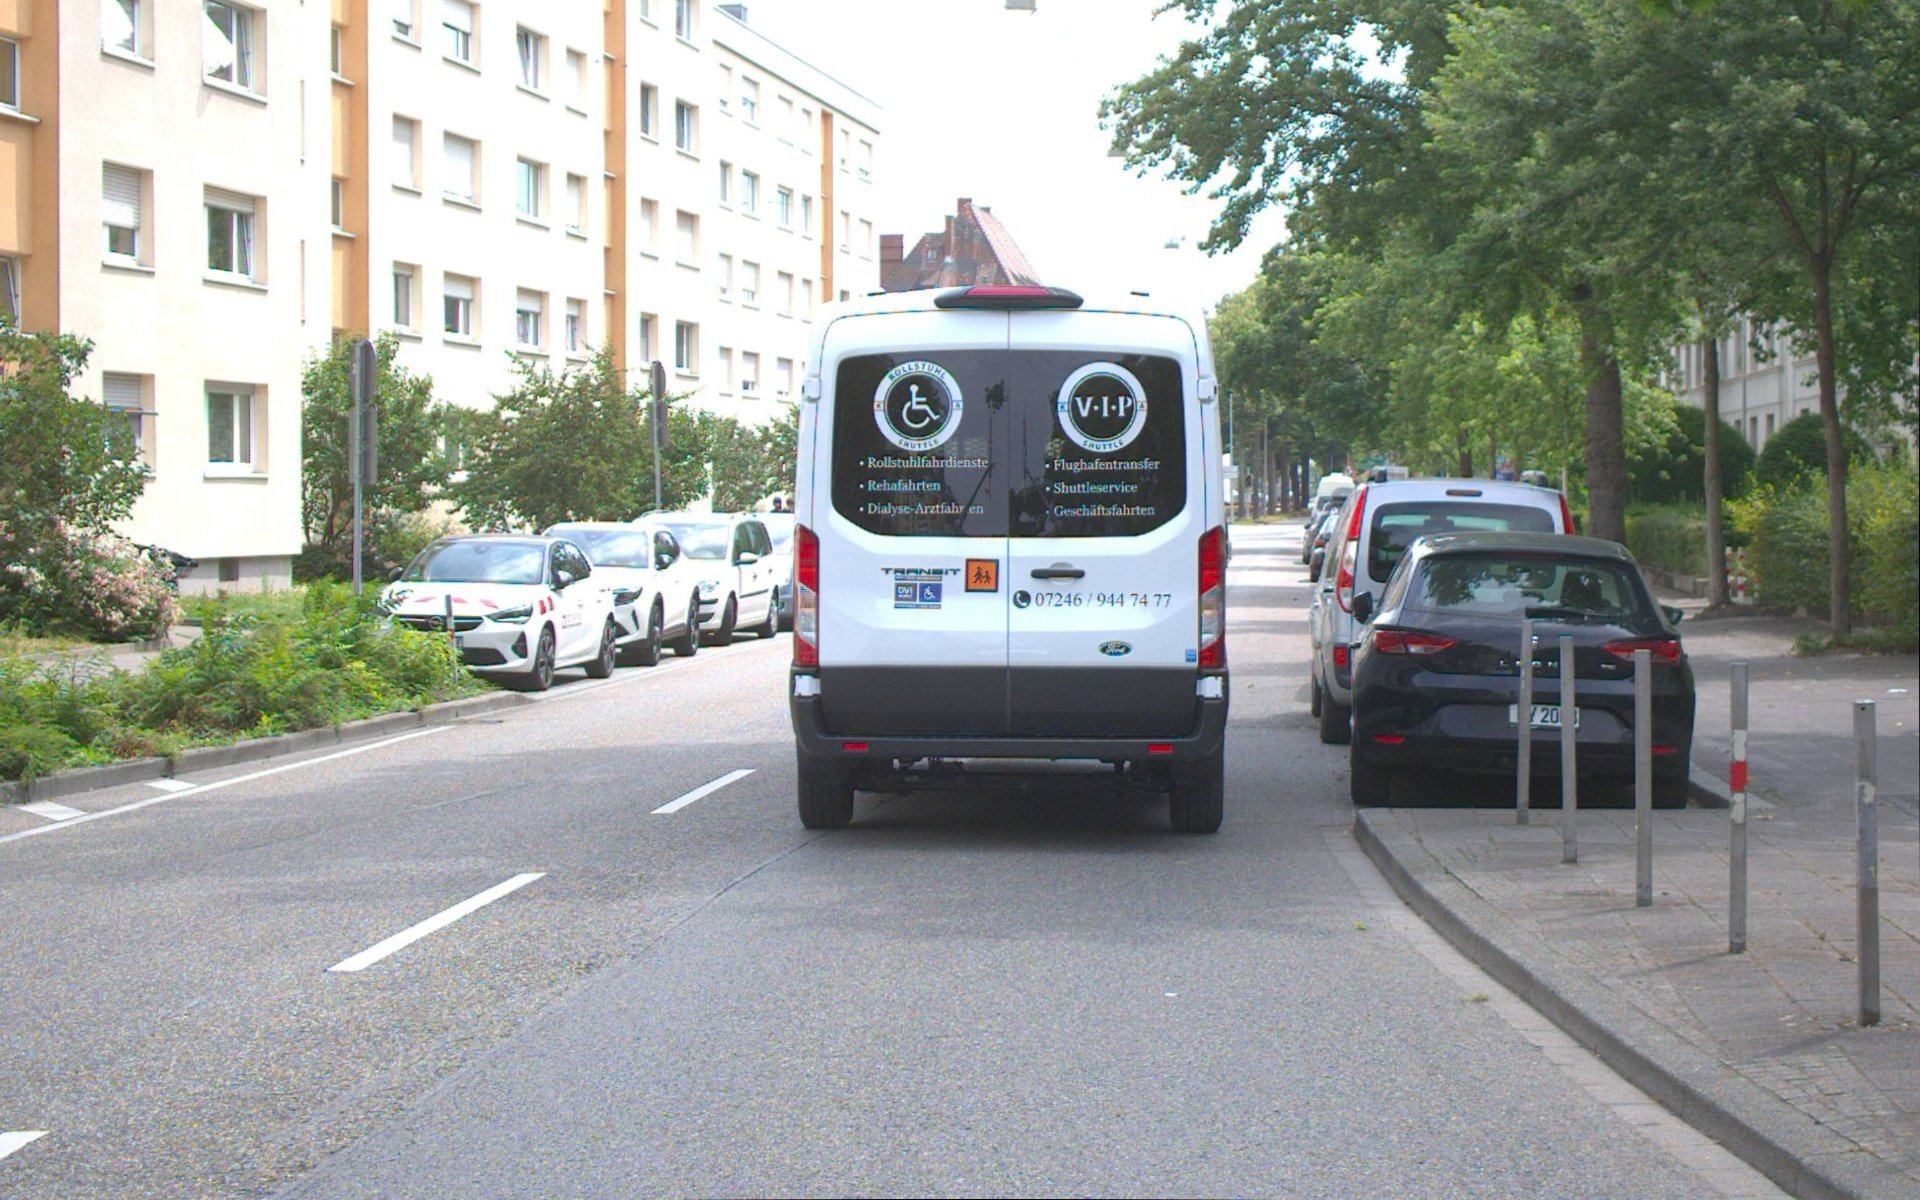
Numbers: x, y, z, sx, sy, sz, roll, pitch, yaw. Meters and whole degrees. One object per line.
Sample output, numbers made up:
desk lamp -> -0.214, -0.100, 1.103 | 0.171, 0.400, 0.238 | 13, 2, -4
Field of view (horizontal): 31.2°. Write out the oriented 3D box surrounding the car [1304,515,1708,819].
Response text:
car -> 2.912, 0.269, 18.858 | 1.918, 1.439, 4.238 | 1, 2, 7

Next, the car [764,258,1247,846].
car -> 0.359, -0.245, 17.319 | 2.070, 2.531, 4.634 | -1, 1, 4

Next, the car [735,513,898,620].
car -> -2.260, -0.571, 55.200 | 1.943, 1.607, 4.301 | 1, 2, 6

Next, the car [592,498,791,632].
car -> -3.388, -0.483, 44.205 | 1.697, 1.607, 4.476 | 1, 2, 6

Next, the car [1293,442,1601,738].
car -> 3.424, -0.126, 24.522 | 1.918, 1.859, 4.845 | 1, 2, 7

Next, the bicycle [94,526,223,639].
bicycle -> -9.328, -0.220, 40.087 | 0.579, 1.246, 1.932 | 0, 2, 16

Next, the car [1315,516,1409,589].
car -> 8.507, -1.028, 72.478 | 1.780, 1.464, 4.613 | 2, 2, 9

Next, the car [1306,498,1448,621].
car -> 5.356, -0.552, 44.332 | 1.697, 1.464, 4.100 | 1, 2, 7

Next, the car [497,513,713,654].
car -> -3.926, -0.227, 38.585 | 1.709, 1.468, 3.989 | 1, 2, 4

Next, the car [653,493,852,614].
car -> -2.914, -0.698, 49.439 | 1.943, 1.607, 4.860 | 1, 2, 7

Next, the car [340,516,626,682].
car -> -4.529, -0.057, 33.195 | 1.709, 1.468, 3.988 | 1, 2, 7

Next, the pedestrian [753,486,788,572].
pedestrian -> -4.055, -1.523, 73.704 | 0.619, 1.807, 0.899 | 1, 1, 4
